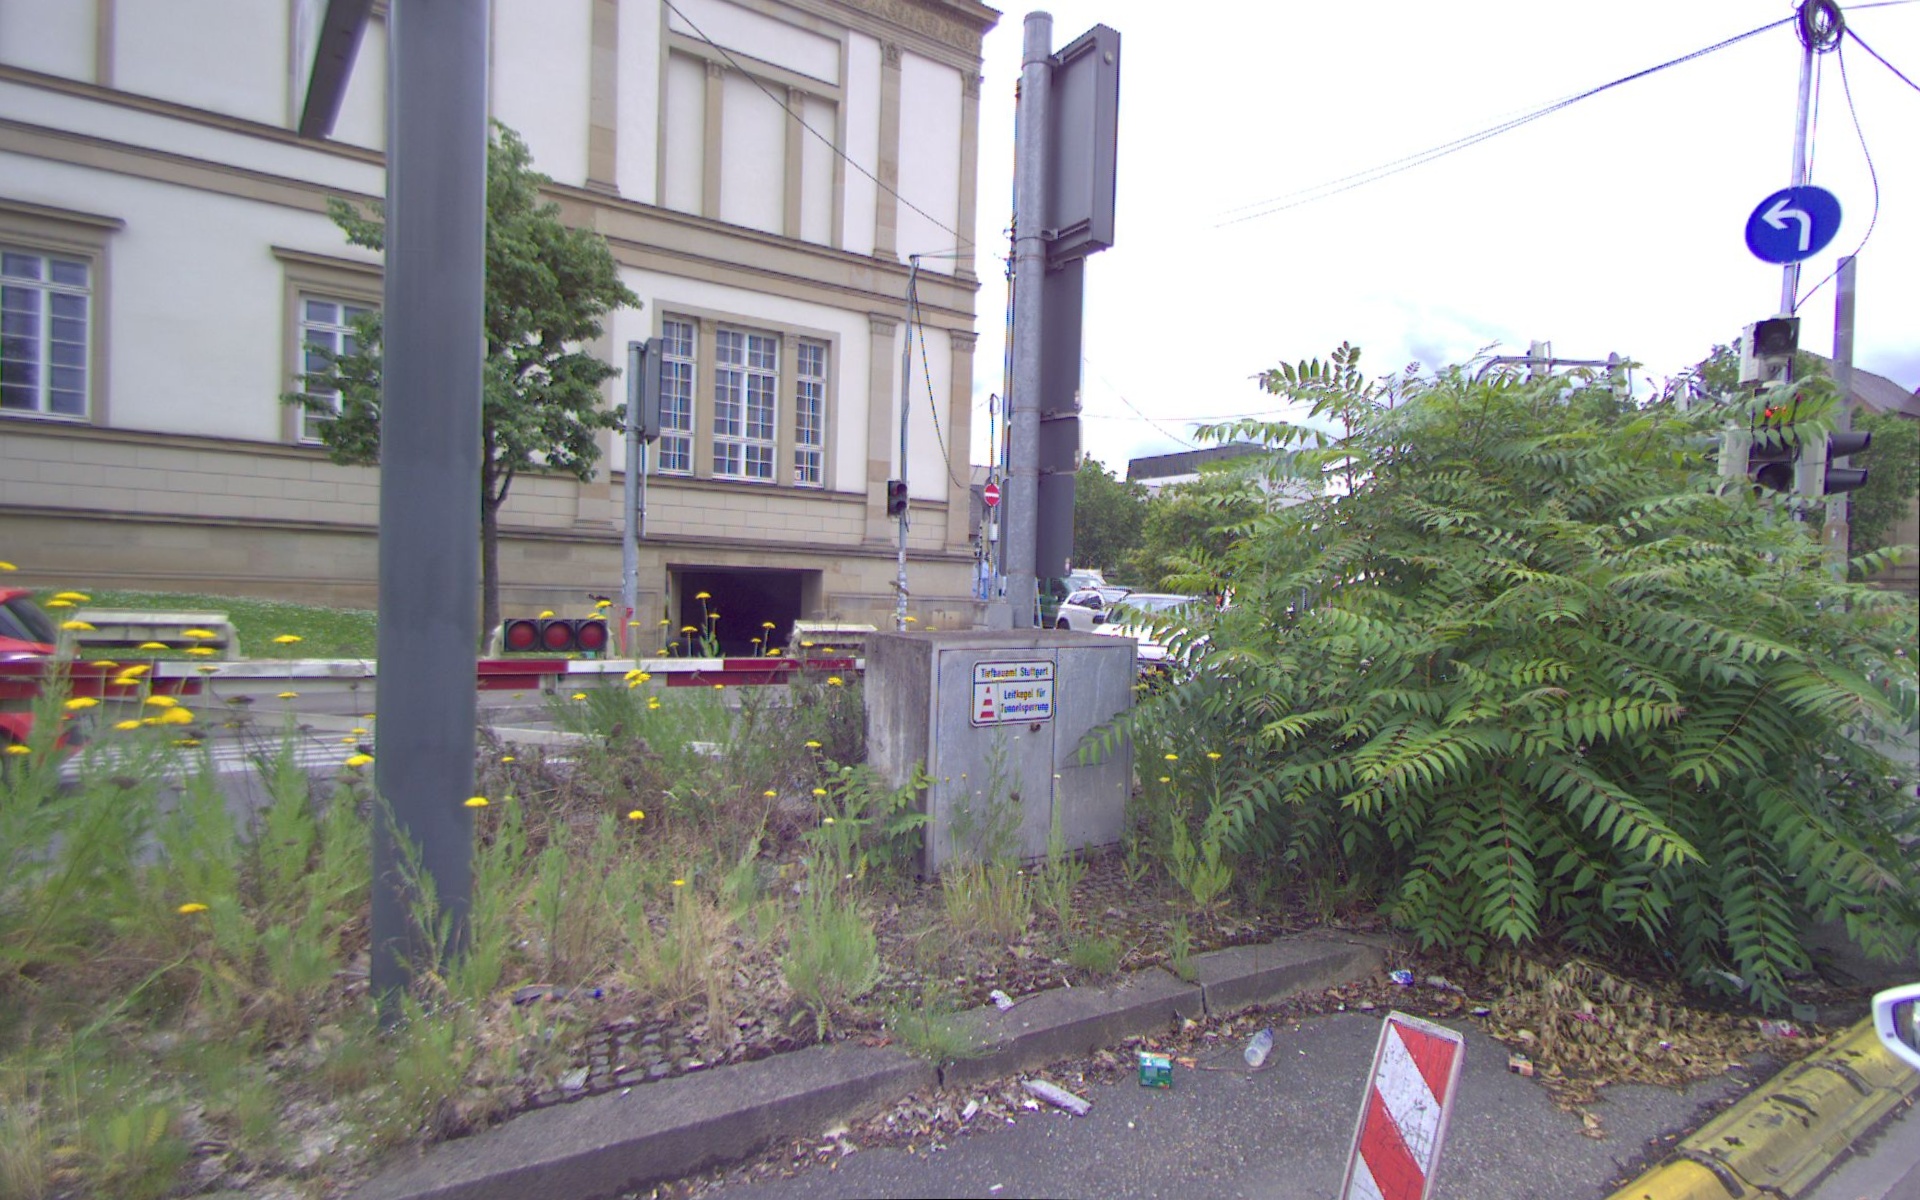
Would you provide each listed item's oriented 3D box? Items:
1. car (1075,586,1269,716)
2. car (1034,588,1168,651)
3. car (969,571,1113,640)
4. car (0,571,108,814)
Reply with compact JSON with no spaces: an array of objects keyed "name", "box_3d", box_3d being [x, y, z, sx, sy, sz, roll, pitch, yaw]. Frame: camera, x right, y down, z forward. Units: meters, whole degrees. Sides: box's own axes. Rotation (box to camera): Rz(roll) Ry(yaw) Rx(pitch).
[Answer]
[{"name":"car","box_3d":[3.477,0.719,15.836,1.842,1.714,4.262,2,0,28]},{"name":"car","box_3d":[3.879,0.508,28.349,1.879,1.646,4.082,0,0,-24]},{"name":"car","box_3d":[2.895,0.186,37.459,2.280,2.336,5.723,2,0,-34]},{"name":"car","box_3d":[-7.492,0.539,5.997,3.542,1.497,1.630,1,0,-37]}]
